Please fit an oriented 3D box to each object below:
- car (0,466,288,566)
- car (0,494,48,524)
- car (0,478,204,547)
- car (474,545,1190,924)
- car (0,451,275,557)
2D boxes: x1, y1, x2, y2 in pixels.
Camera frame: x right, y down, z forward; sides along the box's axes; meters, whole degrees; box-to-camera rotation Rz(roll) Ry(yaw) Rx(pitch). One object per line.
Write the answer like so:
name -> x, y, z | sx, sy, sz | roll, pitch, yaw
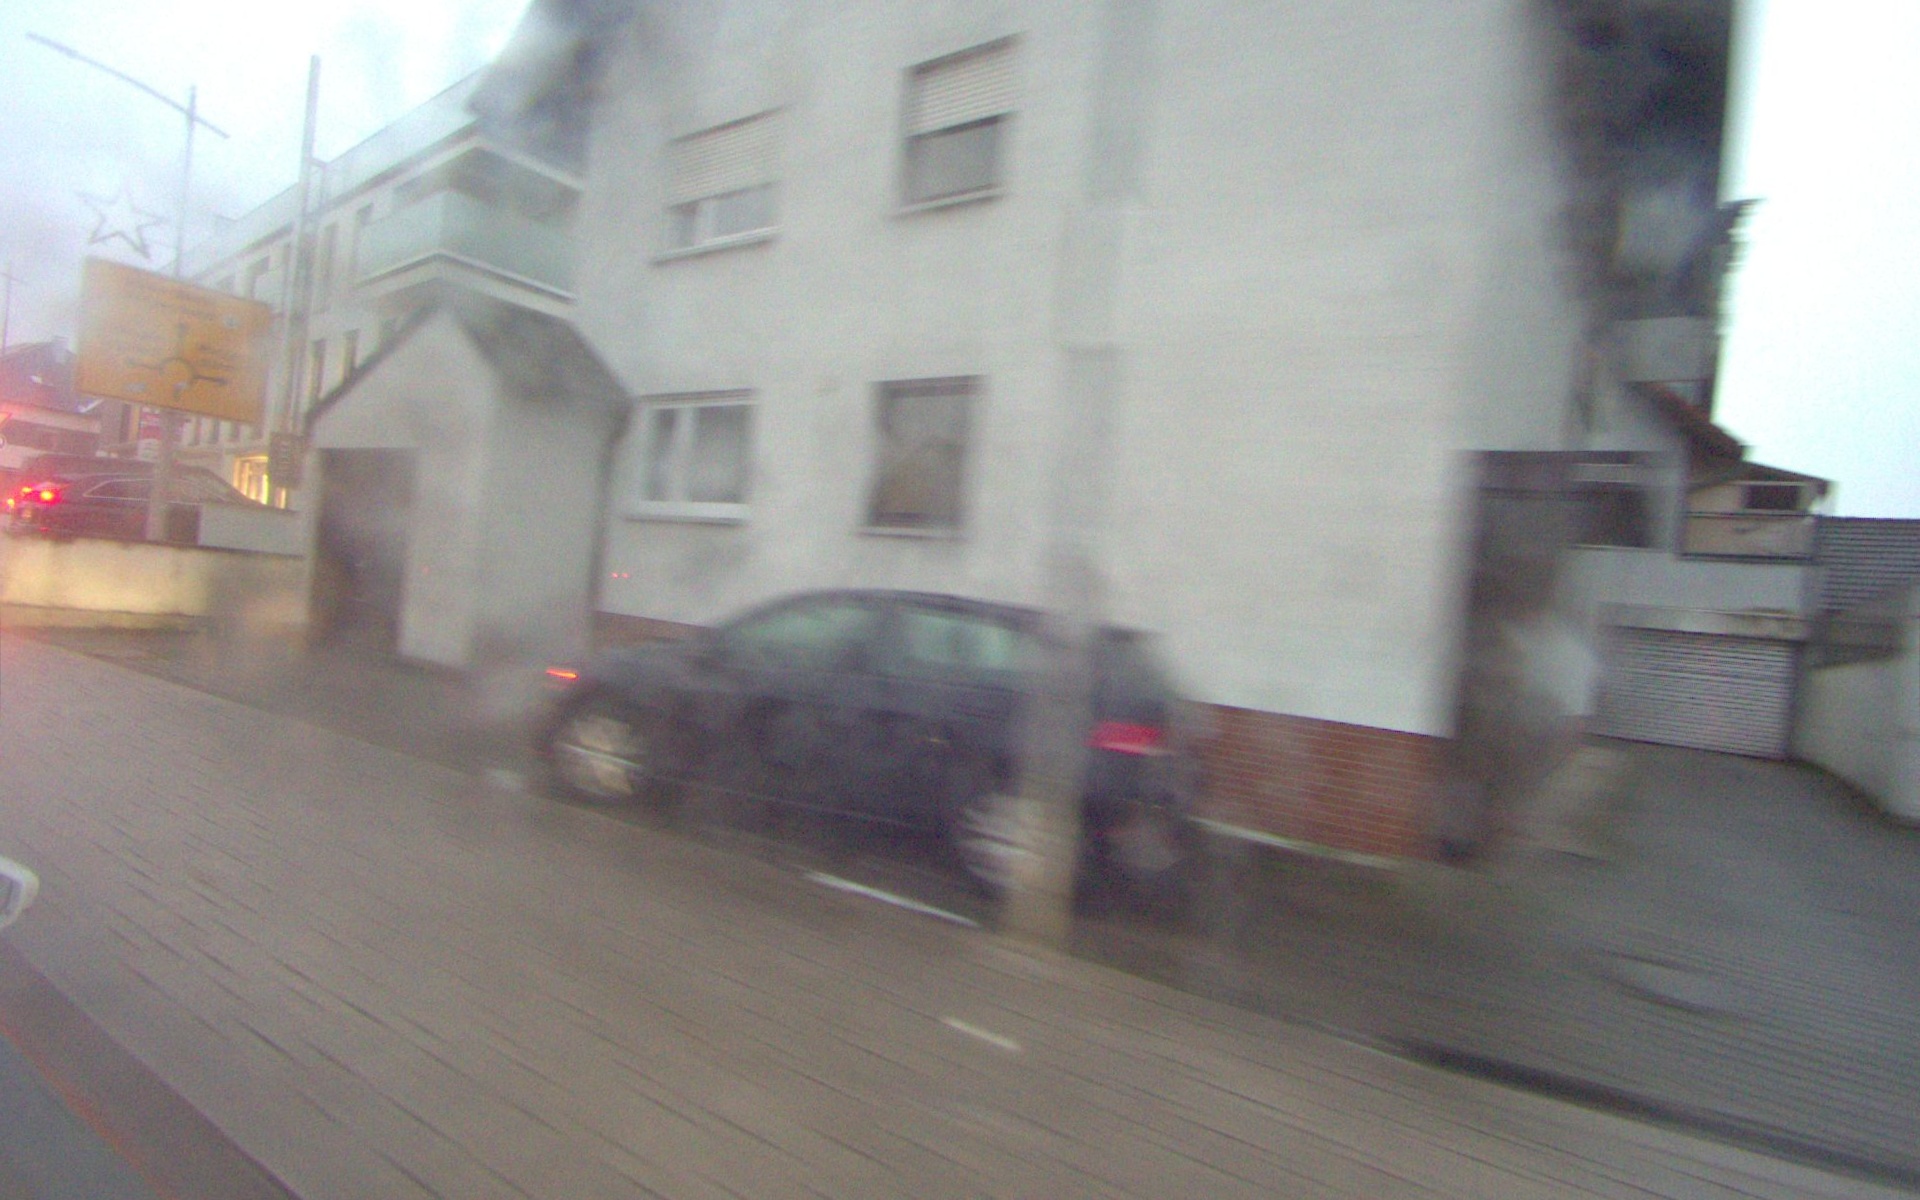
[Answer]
car -> -15.693, -1.575, 19.425 | 1.775, 1.663, 4.168 | 7, 6, 33
car -> -50.921, -4.925, 54.655 | 1.554, 1.432, 3.566 | 3, 3, -35
car -> -24.901, -2.511, 29.341 | 1.765, 1.479, 4.202 | 6, 2, 35
car -> -0.747, 0.604, 6.116 | 3.842, 1.412, 1.769 | 7, 1, 22
car -> -18.057, -2.035, 22.199 | 1.922, 1.947, 4.549 | 6, 4, 40
